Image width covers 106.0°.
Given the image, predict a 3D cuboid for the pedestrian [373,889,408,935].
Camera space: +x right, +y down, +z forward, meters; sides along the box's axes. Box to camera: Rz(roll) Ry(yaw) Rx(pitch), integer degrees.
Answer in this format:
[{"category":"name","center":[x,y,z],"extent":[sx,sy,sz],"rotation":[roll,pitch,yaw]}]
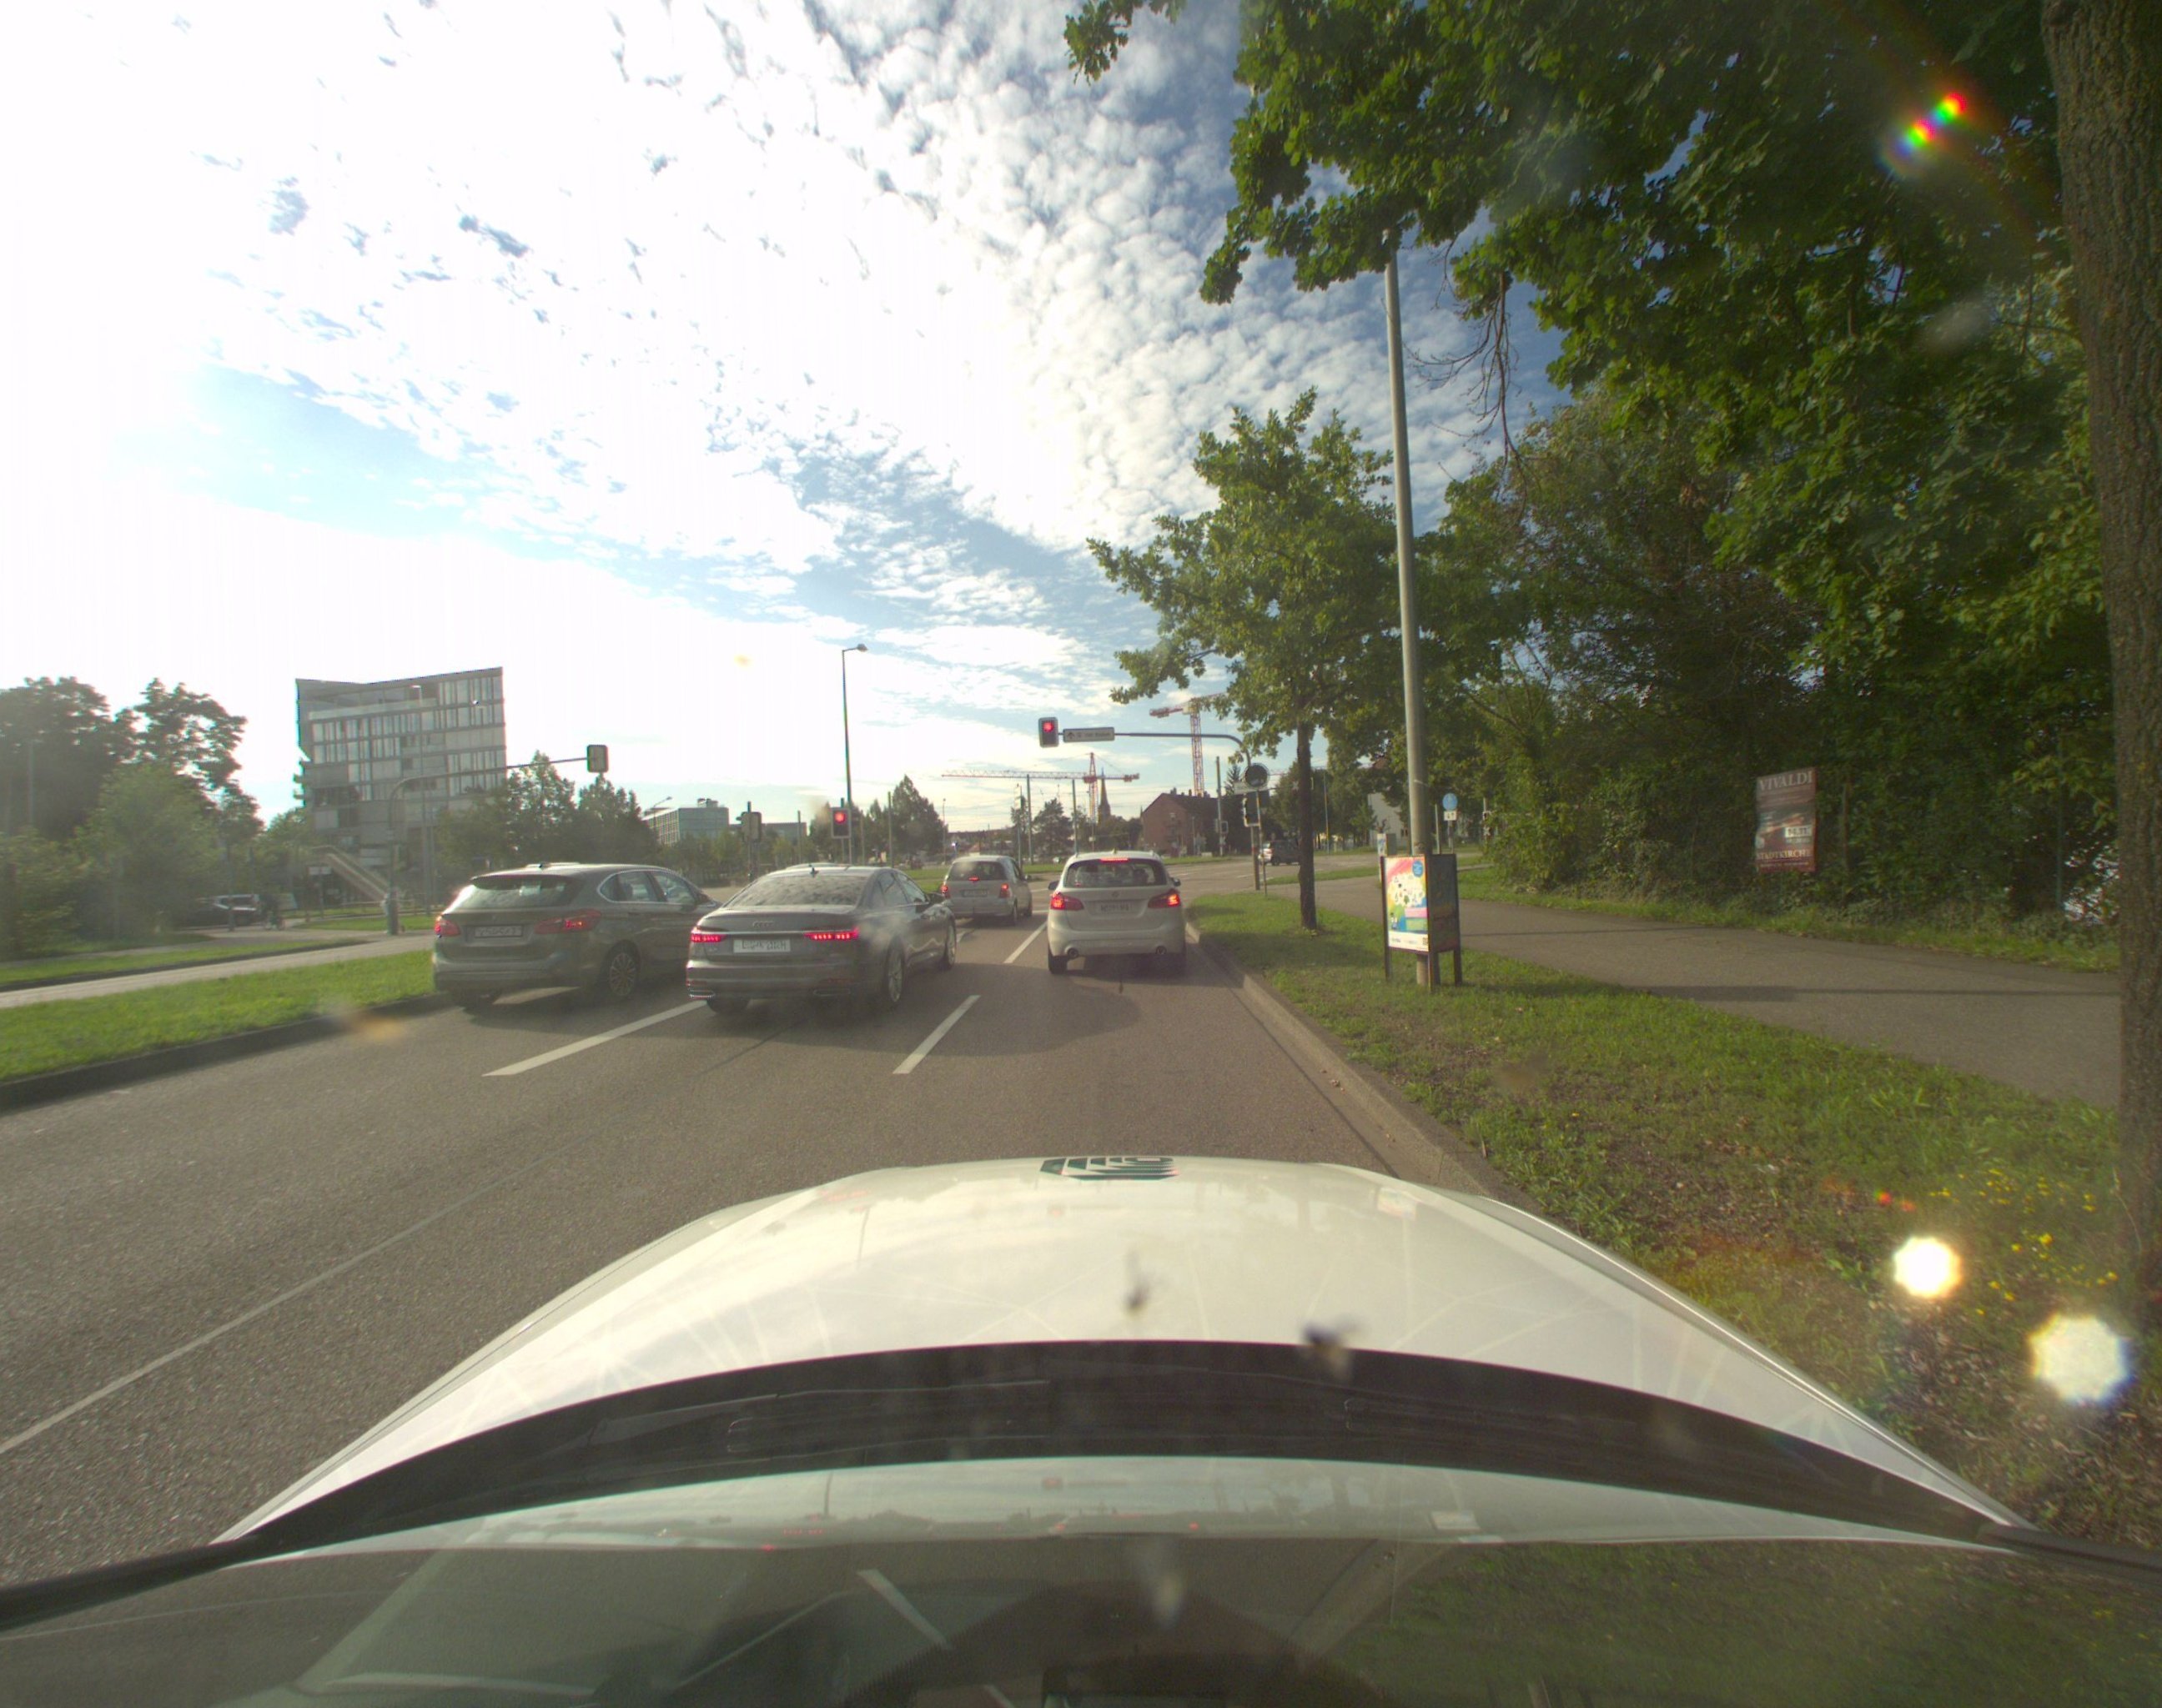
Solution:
[{"category":"pedestrian","center":[-24.497,2.052,28.894],"extent":[0.653,1.569,0.615],"rotation":[-3,-1,-3]}]

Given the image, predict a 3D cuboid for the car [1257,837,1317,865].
[{"category":"car","center":[12.649,-0.203,50.143],"extent":[3.194,1.574,1.567],"rotation":[-3,1,-15]}]

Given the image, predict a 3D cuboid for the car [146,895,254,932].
[{"category":"car","center":[-51.089,3.421,47.308],"extent":[1.974,1.747,4.155],"rotation":[-3,0,42]}]

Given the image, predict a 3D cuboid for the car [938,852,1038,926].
[{"category":"car","center":[-2.104,0.753,19.509],"extent":[1.722,1.558,4.060],"rotation":[-1,0,2]}]

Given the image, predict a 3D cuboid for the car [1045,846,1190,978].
[{"category":"car","center":[0.505,0.709,11.919],"extent":[1.723,1.558,4.059],"rotation":[-2,0,2]}]

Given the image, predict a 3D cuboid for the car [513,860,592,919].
[{"category":"car","center":[-23.143,1.535,35.890],"extent":[2.004,2.235,5.874],"rotation":[-4,0,-25]}]

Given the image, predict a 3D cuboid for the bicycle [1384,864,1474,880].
[{"category":"bicycle","center":[10.633,0.551,25.031],"extent":[1.407,0.385,2.568],"rotation":[-3,0,-9]}]

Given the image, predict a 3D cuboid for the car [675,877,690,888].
[{"category":"car","center":[-56.600,4.050,115.573],"extent":[1.626,1.464,3.694],"rotation":[-3,0,-31]}]

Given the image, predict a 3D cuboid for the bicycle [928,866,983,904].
[{"category":"bicycle","center":[-4.225,1.031,27.314],"extent":[1.728,1.163,0.652],"rotation":[-3,-1,-15]}]

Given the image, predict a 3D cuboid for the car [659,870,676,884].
[{"category":"car","center":[-48.628,2.726,95.764],"extent":[1.600,1.415,3.638],"rotation":[-5,-2,-25]}]

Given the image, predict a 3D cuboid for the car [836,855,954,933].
[{"category":"car","center":[-4.102,0.829,18.536],"extent":[1.674,1.523,3.812],"rotation":[-2,0,1]}]

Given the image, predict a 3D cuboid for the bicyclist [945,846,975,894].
[{"category":"bicyclist","center":[-4.078,0.534,27.347],"extent":[0.850,1.526,0.737],"rotation":[-3,-1,-15]}]

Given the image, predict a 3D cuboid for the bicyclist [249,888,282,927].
[{"category":"bicyclist","center":[-35.956,2.345,35.918],"extent":[0.786,1.668,0.549],"rotation":[-3,-1,-3]}]

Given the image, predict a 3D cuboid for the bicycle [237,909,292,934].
[{"category":"bicycle","center":[-35.980,2.976,35.907],"extent":[1.670,0.967,0.643],"rotation":[-3,0,-4]}]

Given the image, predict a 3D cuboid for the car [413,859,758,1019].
[{"category":"car","center":[-5.815,0.870,10.244],"extent":[1.722,1.558,4.021],"rotation":[-2,0,2]}]

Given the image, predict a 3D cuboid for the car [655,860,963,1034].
[{"category":"car","center":[-2.727,0.834,9.474],"extent":[1.883,1.483,4.614],"rotation":[-2,-1,2]}]
